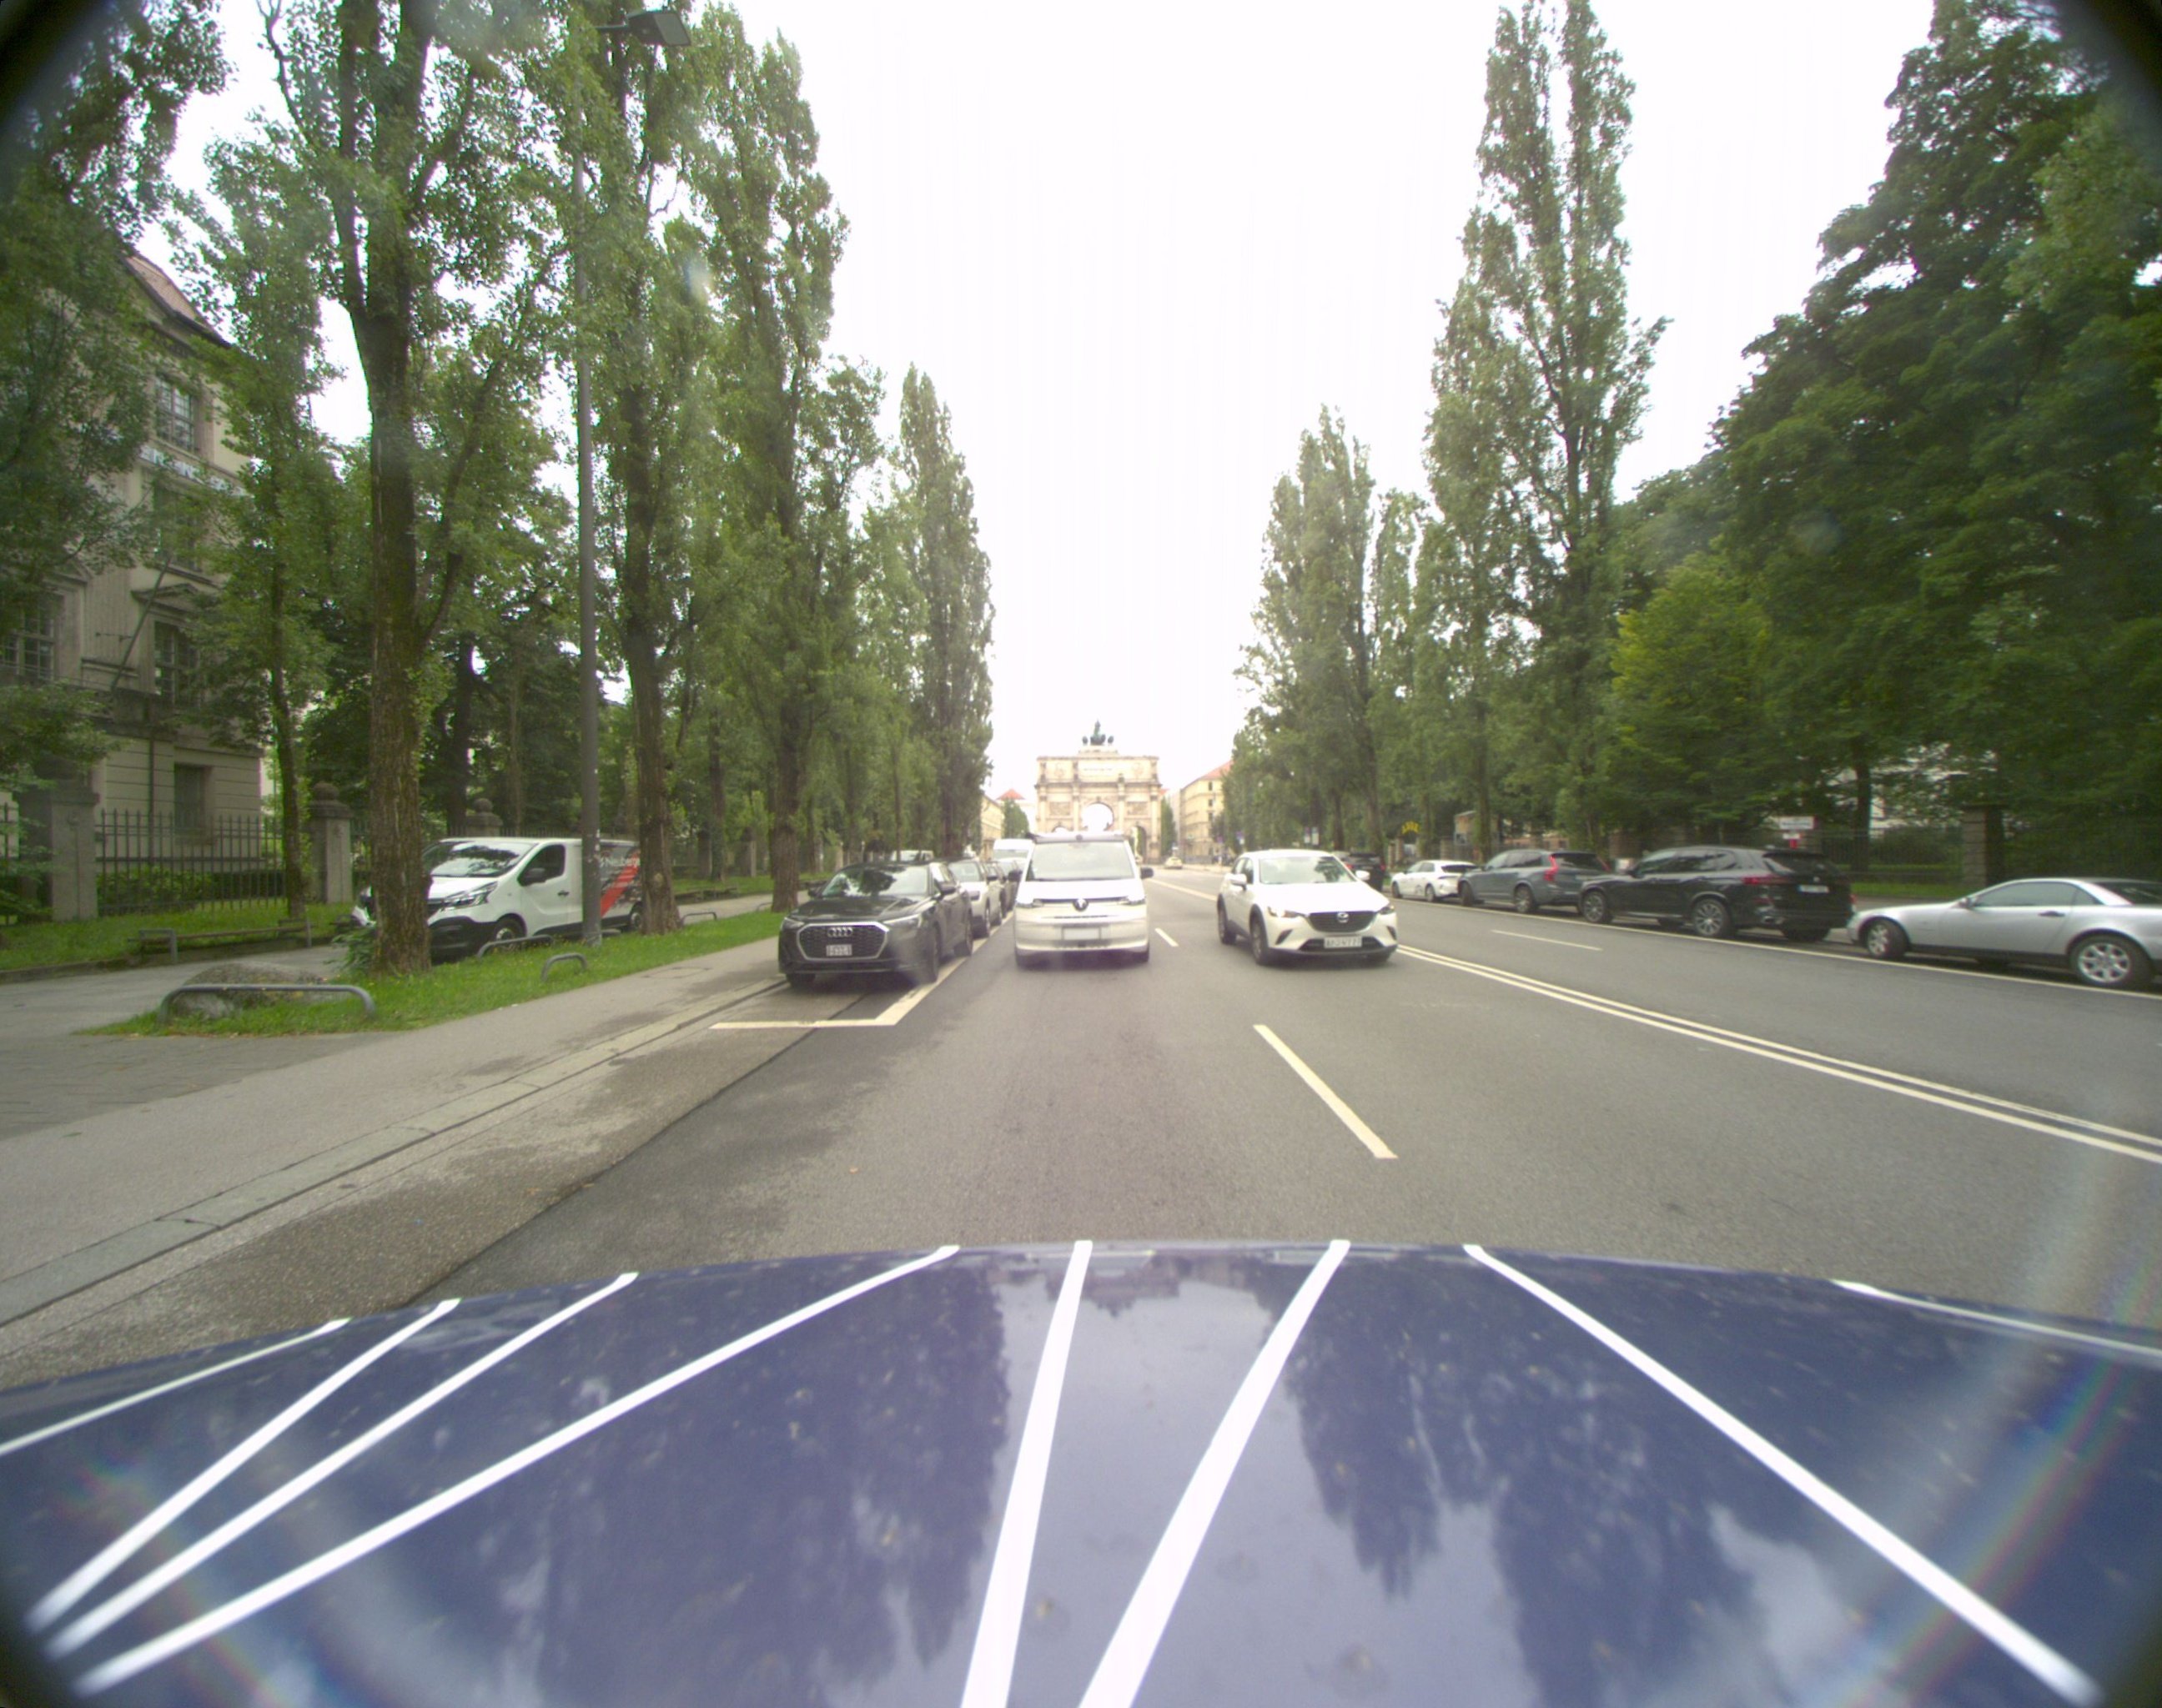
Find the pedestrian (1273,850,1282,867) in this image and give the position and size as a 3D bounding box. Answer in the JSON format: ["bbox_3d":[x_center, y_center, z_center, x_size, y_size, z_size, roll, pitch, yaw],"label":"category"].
[{"bbox_3d":[19.402,0.448,75.139,0.661,1.706,0.911,0,0,-1],"label":"pedestrian"}]

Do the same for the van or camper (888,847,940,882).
[{"bbox_3d":[-9.799,0.587,45.072,1.980,1.922,5.037,-2,0,-1],"label":"van or camper"}]

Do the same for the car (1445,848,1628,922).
[{"bbox_3d":[12.489,0.757,21.345,1.914,1.779,5.179,2,0,-1],"label":"car"}]

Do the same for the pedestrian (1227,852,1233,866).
[{"bbox_3d":[17.736,0.567,90.584,0.533,1.720,0.583,-1,0,-11],"label":"pedestrian"}]

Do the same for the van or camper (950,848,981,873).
[{"bbox_3d":[-9.765,0.508,64.557,2.009,2.002,4.985,-2,0,-2],"label":"van or camper"}]

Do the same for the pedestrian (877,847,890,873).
[{"bbox_3d":[-14.991,0.446,57.695,0.905,2.002,0.956,0,1,-16],"label":"pedestrian"}]

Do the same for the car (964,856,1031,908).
[{"bbox_3d":[-2.762,0.874,26.110,1.788,1.608,4.637,-1,0,0],"label":"car"}]

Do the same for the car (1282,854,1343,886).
[{"bbox_3d":[12.481,0.830,41.229,1.949,1.574,4.388,1,0,0],"label":"car"}]

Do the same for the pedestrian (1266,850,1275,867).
[{"bbox_3d":[18.677,0.475,74.925,0.689,1.690,0.885,0,0,-1],"label":"pedestrian"}]

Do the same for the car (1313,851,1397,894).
[{"bbox_3d":[12.434,0.788,34.899,2.051,1.776,4.799,2,0,0],"label":"car"}]

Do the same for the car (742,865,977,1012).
[{"bbox_3d":[-2.707,0.945,10.460,1.885,1.531,4.464,-1,0,0],"label":"car"}]

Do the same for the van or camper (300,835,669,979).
[{"bbox_3d":[-9.695,0.736,13.181,2.081,1.922,5.368,-2,0,0],"label":"van or camper"}]

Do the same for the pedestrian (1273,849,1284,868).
[{"bbox_3d":[18.939,0.421,72.819,0.711,1.823,1.092,-1,1,-1],"label":"pedestrian"}]

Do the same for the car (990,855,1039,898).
[{"bbox_3d":[-2.681,0.876,31.355,1.789,1.639,4.417,-1,0,-2],"label":"car"}]

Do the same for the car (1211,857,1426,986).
[{"bbox_3d":[3.198,0.820,11.138,1.910,1.516,4.009,-1,0,0],"label":"car"}]

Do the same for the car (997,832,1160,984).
[{"bbox_3d":[-0.014,0.688,12.672,2.064,1.916,5.728,-1,0,0],"label":"car"}]

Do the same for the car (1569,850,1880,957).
[{"bbox_3d":[12.451,0.832,15.280,1.946,1.757,4.894,2,0,-2],"label":"car"}]

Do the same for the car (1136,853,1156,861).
[{"bbox_3d":[13.934,0.638,163.088,2.004,1.739,3.989,-1,0,-40],"label":"car"}]

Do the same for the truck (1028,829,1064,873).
[{"bbox_3d":[-3.022,-0.235,67.904,2.852,3.543,10.277,-1,0,-1],"label":"truck"}]

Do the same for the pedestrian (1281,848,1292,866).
[{"bbox_3d":[19.713,0.300,72.813,0.711,1.762,1.092,0,1,-1],"label":"pedestrian"}]

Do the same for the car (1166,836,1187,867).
[{"bbox_3d":[11.627,-0.347,92.667,1.798,1.334,4.448,10,33,-6],"label":"car"}]

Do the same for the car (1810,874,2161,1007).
[{"bbox_3d":[12.543,1.013,9.960,1.831,1.326,4.233,2,0,-1],"label":"car"}]

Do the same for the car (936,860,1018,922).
[{"bbox_3d":[-2.780,0.954,21.214,1.707,1.511,4.295,-1,0,0],"label":"car"}]

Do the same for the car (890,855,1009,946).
[{"bbox_3d":[-2.634,0.868,16.282,1.747,1.665,4.579,-1,0,0],"label":"car"}]

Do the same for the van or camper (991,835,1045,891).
[{"bbox_3d":[-3.060,0.416,38.175,2.144,2.525,6.416,-1,0,0],"label":"van or camper"}]

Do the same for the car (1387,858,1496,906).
[{"bbox_3d":[12.374,0.913,26.406,1.708,1.450,4.272,2,0,-1],"label":"car"}]
